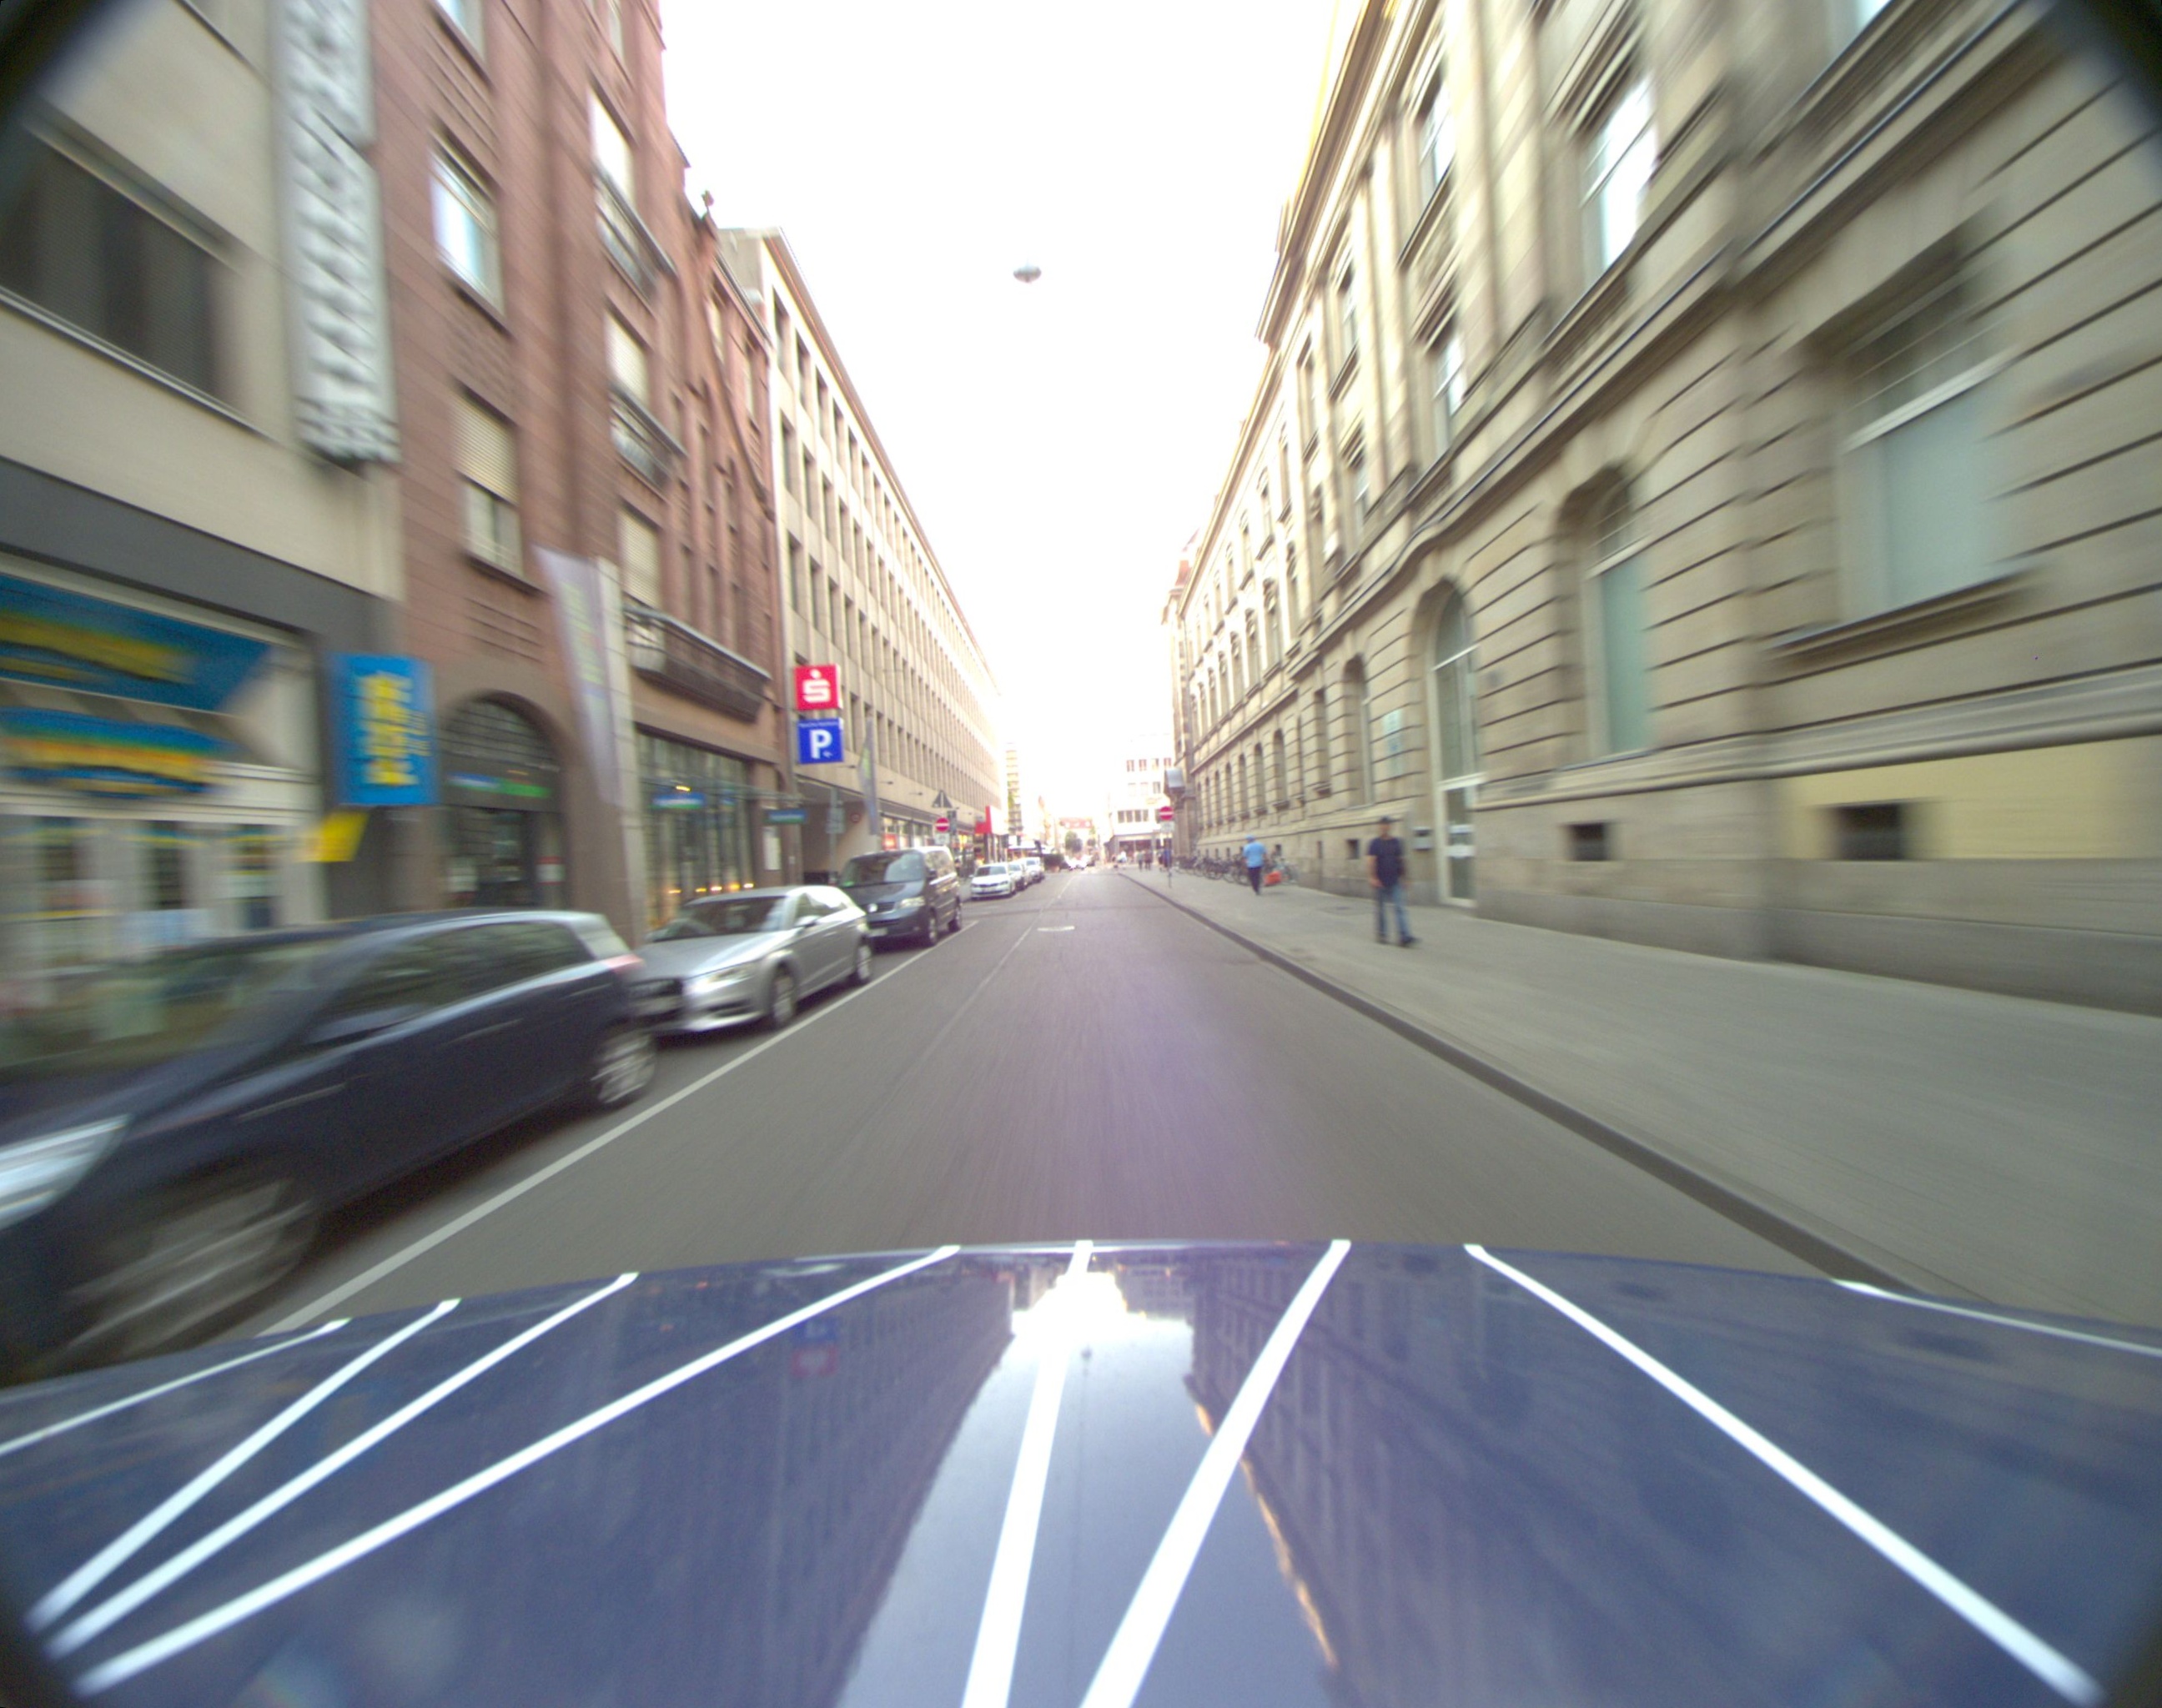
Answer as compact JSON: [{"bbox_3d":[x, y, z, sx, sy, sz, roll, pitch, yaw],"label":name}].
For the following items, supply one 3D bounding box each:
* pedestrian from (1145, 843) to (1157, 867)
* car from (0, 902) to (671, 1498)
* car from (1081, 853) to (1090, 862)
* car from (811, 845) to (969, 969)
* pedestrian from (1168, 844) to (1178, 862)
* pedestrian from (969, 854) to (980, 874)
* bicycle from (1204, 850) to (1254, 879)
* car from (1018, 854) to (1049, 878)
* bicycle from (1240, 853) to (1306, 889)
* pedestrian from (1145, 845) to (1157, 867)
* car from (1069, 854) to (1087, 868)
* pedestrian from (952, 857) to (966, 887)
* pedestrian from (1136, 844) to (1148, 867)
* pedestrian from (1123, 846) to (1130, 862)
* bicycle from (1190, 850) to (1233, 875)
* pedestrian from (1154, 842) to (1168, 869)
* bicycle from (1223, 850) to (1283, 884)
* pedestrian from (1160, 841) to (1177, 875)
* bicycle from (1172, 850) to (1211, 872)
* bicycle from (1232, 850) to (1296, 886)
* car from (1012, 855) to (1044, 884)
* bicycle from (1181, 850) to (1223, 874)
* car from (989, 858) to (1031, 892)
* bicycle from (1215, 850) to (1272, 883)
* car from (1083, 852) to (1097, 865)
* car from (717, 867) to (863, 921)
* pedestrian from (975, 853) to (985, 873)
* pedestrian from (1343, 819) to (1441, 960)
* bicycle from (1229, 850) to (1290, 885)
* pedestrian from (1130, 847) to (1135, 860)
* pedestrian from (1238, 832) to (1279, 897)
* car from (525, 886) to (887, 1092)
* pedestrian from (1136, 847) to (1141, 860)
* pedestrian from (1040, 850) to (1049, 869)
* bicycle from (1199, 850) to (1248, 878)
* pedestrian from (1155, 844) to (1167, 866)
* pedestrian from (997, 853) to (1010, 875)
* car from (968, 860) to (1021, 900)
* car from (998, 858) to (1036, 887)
[{"bbox_3d":[5.648,0.086,60.957,0.718,1.819,0.870,-6,0,8],"label":"pedestrian"},{"bbox_3d":[-3.982,1.180,3.669,1.622,1.507,4.173,-6,0,0],"label":"car"},{"bbox_3d":[1.031,0.744,163.768,1.798,1.705,4.000,-3,0,2],"label":"car"},{"bbox_3d":[-3.729,0.901,15.867,1.851,2.046,5.053,-4,1,0],"label":"car"},{"bbox_3d":[8.493,-0.084,69.931,0.743,1.649,0.753,-3,0,1],"label":"pedestrian"},{"bbox_3d":[-9.573,0.899,68.105,0.799,1.751,0.687,-3,0,-1],"label":"pedestrian"},{"bbox_3d":[6.447,0.466,33.228,1.943,1.072,0.730,-5,1,-6],"label":"bicycle"},{"bbox_3d":[-3.441,0.841,55.634,1.744,1.589,4.714,-5,0,1],"label":"car"},{"bbox_3d":[6.377,0.558,25.332,1.940,1.040,0.721,-4,0,-4],"label":"bicycle"},{"bbox_3d":[5.490,0.151,59.393,0.731,1.658,0.858,-7,0,3],"label":"pedestrian"},{"bbox_3d":[-0.331,0.746,80.171,1.741,1.407,4.682,0,0,-1],"label":"car"},{"bbox_3d":[-6.679,0.981,41.594,0.650,1.626,0.650,-2,1,0],"label":"pedestrian"},{"bbox_3d":[4.734,0.135,59.419,0.727,1.732,0.839,-7,0,3],"label":"pedestrian"},{"bbox_3d":[5.616,0.011,93.777,0.783,1.881,0.642,-3,1,0],"label":"pedestrian"},{"bbox_3d":[6.501,0.428,37.922,1.943,1.072,0.730,-5,1,-5],"label":"bicycle"},{"bbox_3d":[5.363,0.103,50.769,0.719,1.770,0.800,-5,1,1],"label":"pedestrian"},{"bbox_3d":[6.395,0.486,28.288,1.943,1.072,0.730,-5,1,-6],"label":"bicycle"},{"bbox_3d":[4.824,0.214,41.809,0.777,1.778,0.821,-4,1,12],"label":"pedestrian"},{"bbox_3d":[6.423,0.394,44.234,2.024,1.102,0.730,-5,1,-6],"label":"bicycle"},{"bbox_3d":[6.307,0.476,26.252,1.942,1.072,0.748,-5,1,0],"label":"bicycle"},{"bbox_3d":[-3.424,0.955,49.807,1.781,1.656,4.812,-4,1,-1],"label":"car"},{"bbox_3d":[6.581,0.434,41.359,2.026,1.072,0.729,-5,1,-18],"label":"bicycle"},{"bbox_3d":[-3.553,1.021,38.775,1.661,1.439,4.444,-4,1,-1],"label":"car"},{"bbox_3d":[6.325,0.478,29.605,1.943,1.072,0.730,-5,1,-6],"label":"bicycle"},{"bbox_3d":[1.273,0.637,109.087,1.824,1.728,4.000,-3,0,0],"label":"car"},{"bbox_3d":[-10.341,1.386,27.247,4.413,1.493,1.916,-4,1,-1],"label":"car"},{"bbox_3d":[-8.960,0.771,67.350,0.799,1.751,0.687,-3,0,-4],"label":"pedestrian"},{"bbox_3d":[4.126,0.449,10.156,0.811,1.740,0.969,-5,1,1],"label":"pedestrian"},{"bbox_3d":[6.454,0.482,27.516,1.943,1.072,0.730,-5,1,-6],"label":"bicycle"},{"bbox_3d":[6.667,-0.031,98.585,0.545,1.698,0.558,-4,1,1],"label":"pedestrian"},{"bbox_3d":[5.024,0.288,21.561,0.831,1.736,0.769,-6,1,1],"label":"pedestrian"},{"bbox_3d":[-3.803,1.256,8.782,1.691,1.444,4.498,-6,0,2],"label":"car"},{"bbox_3d":[7.496,-0.070,98.793,0.545,1.698,0.558,-4,1,1],"label":"pedestrian"},{"bbox_3d":[-3.490,0.524,72.385,0.687,1.751,0.799,-3,0,-7],"label":"pedestrian"},{"bbox_3d":[6.442,0.429,34.416,1.943,1.072,0.730,-5,1,-6],"label":"bicycle"},{"bbox_3d":[6.435,0.077,60.764,0.757,1.632,0.749,-7,0,8],"label":"pedestrian"},{"bbox_3d":[-6.868,0.852,66.967,0.685,1.907,0.801,-2,1,42],"label":"pedestrian"},{"bbox_3d":[-3.672,1.062,32.803,1.661,1.439,4.307,-4,1,0],"label":"car"},{"bbox_3d":[-3.676,1.024,44.325,1.661,1.439,3.869,-4,1,1],"label":"car"}]
